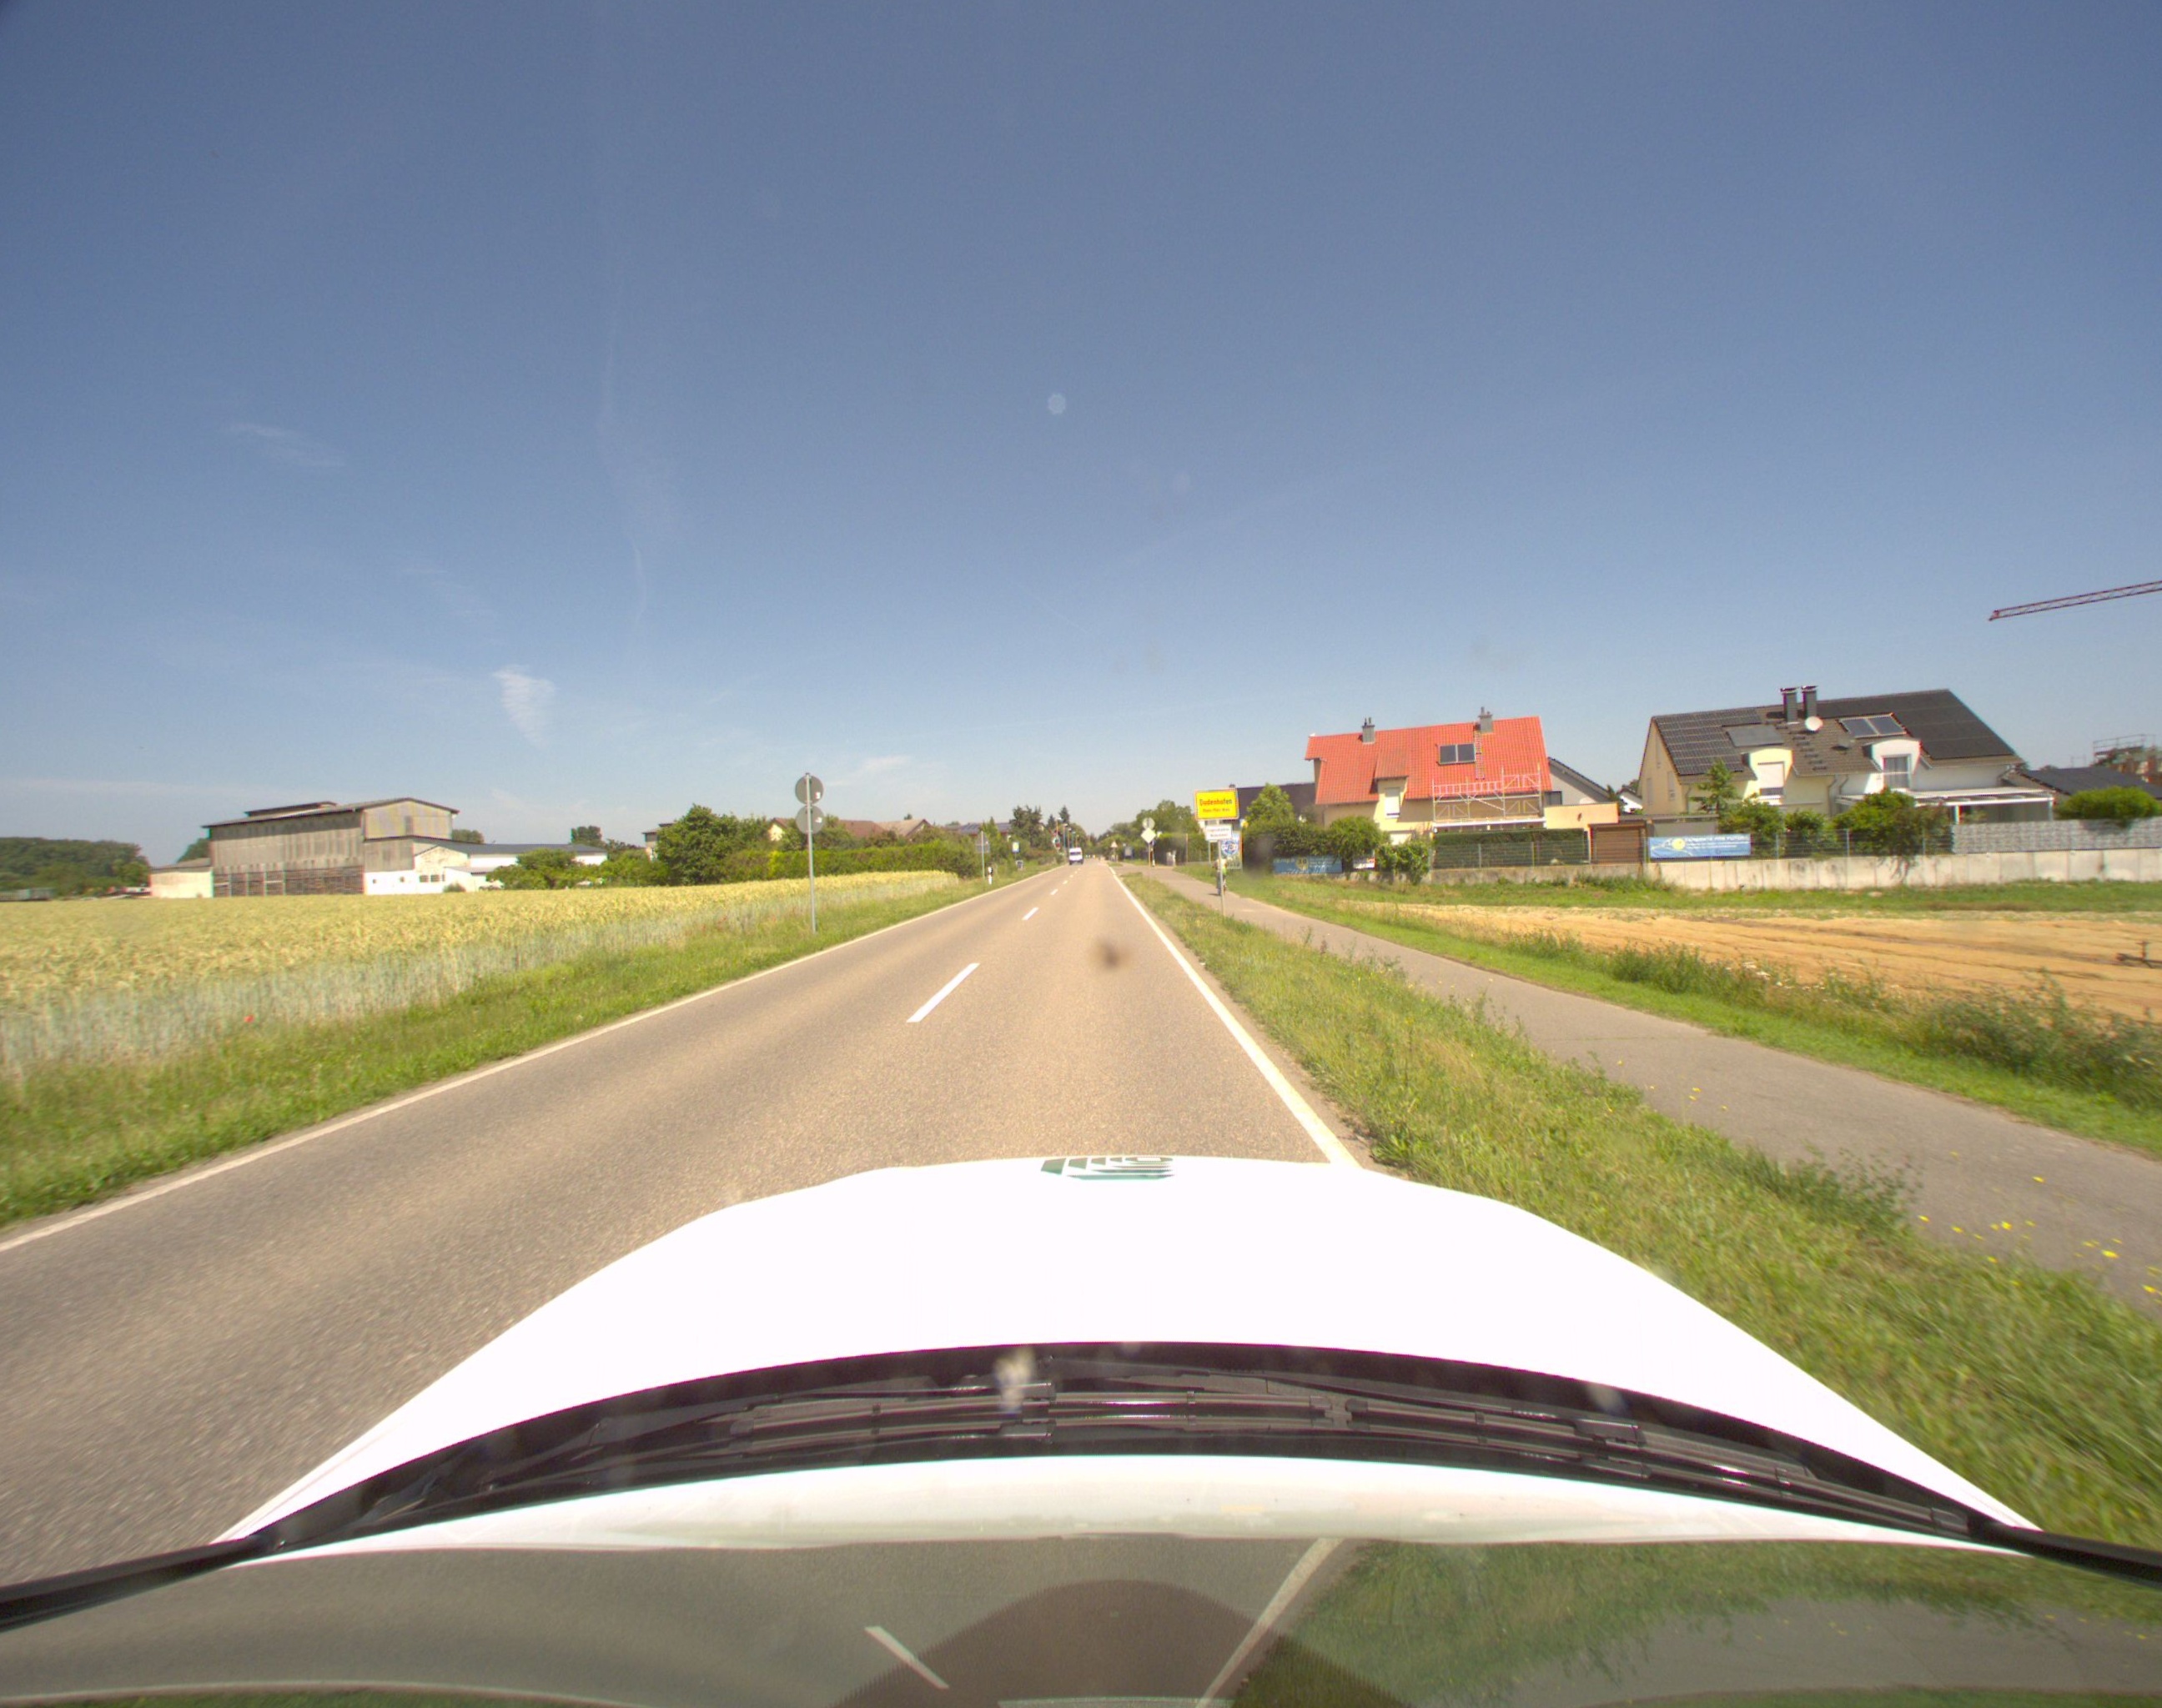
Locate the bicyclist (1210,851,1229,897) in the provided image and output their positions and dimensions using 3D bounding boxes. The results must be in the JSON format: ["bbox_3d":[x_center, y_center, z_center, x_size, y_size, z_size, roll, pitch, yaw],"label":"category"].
[{"bbox_3d":[5.905,0.840,34.739,0.643,1.889,0.861,-1,1,0],"label":"bicyclist"}]

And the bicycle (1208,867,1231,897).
[{"bbox_3d":[5.928,1.195,34.997,0.608,1.158,2.274,-1,1,0],"label":"bicycle"}]

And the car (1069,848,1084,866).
[{"bbox_3d":[-0.668,0.447,123.136,2.070,2.542,5.873,-3,0,1],"label":"car"}]
